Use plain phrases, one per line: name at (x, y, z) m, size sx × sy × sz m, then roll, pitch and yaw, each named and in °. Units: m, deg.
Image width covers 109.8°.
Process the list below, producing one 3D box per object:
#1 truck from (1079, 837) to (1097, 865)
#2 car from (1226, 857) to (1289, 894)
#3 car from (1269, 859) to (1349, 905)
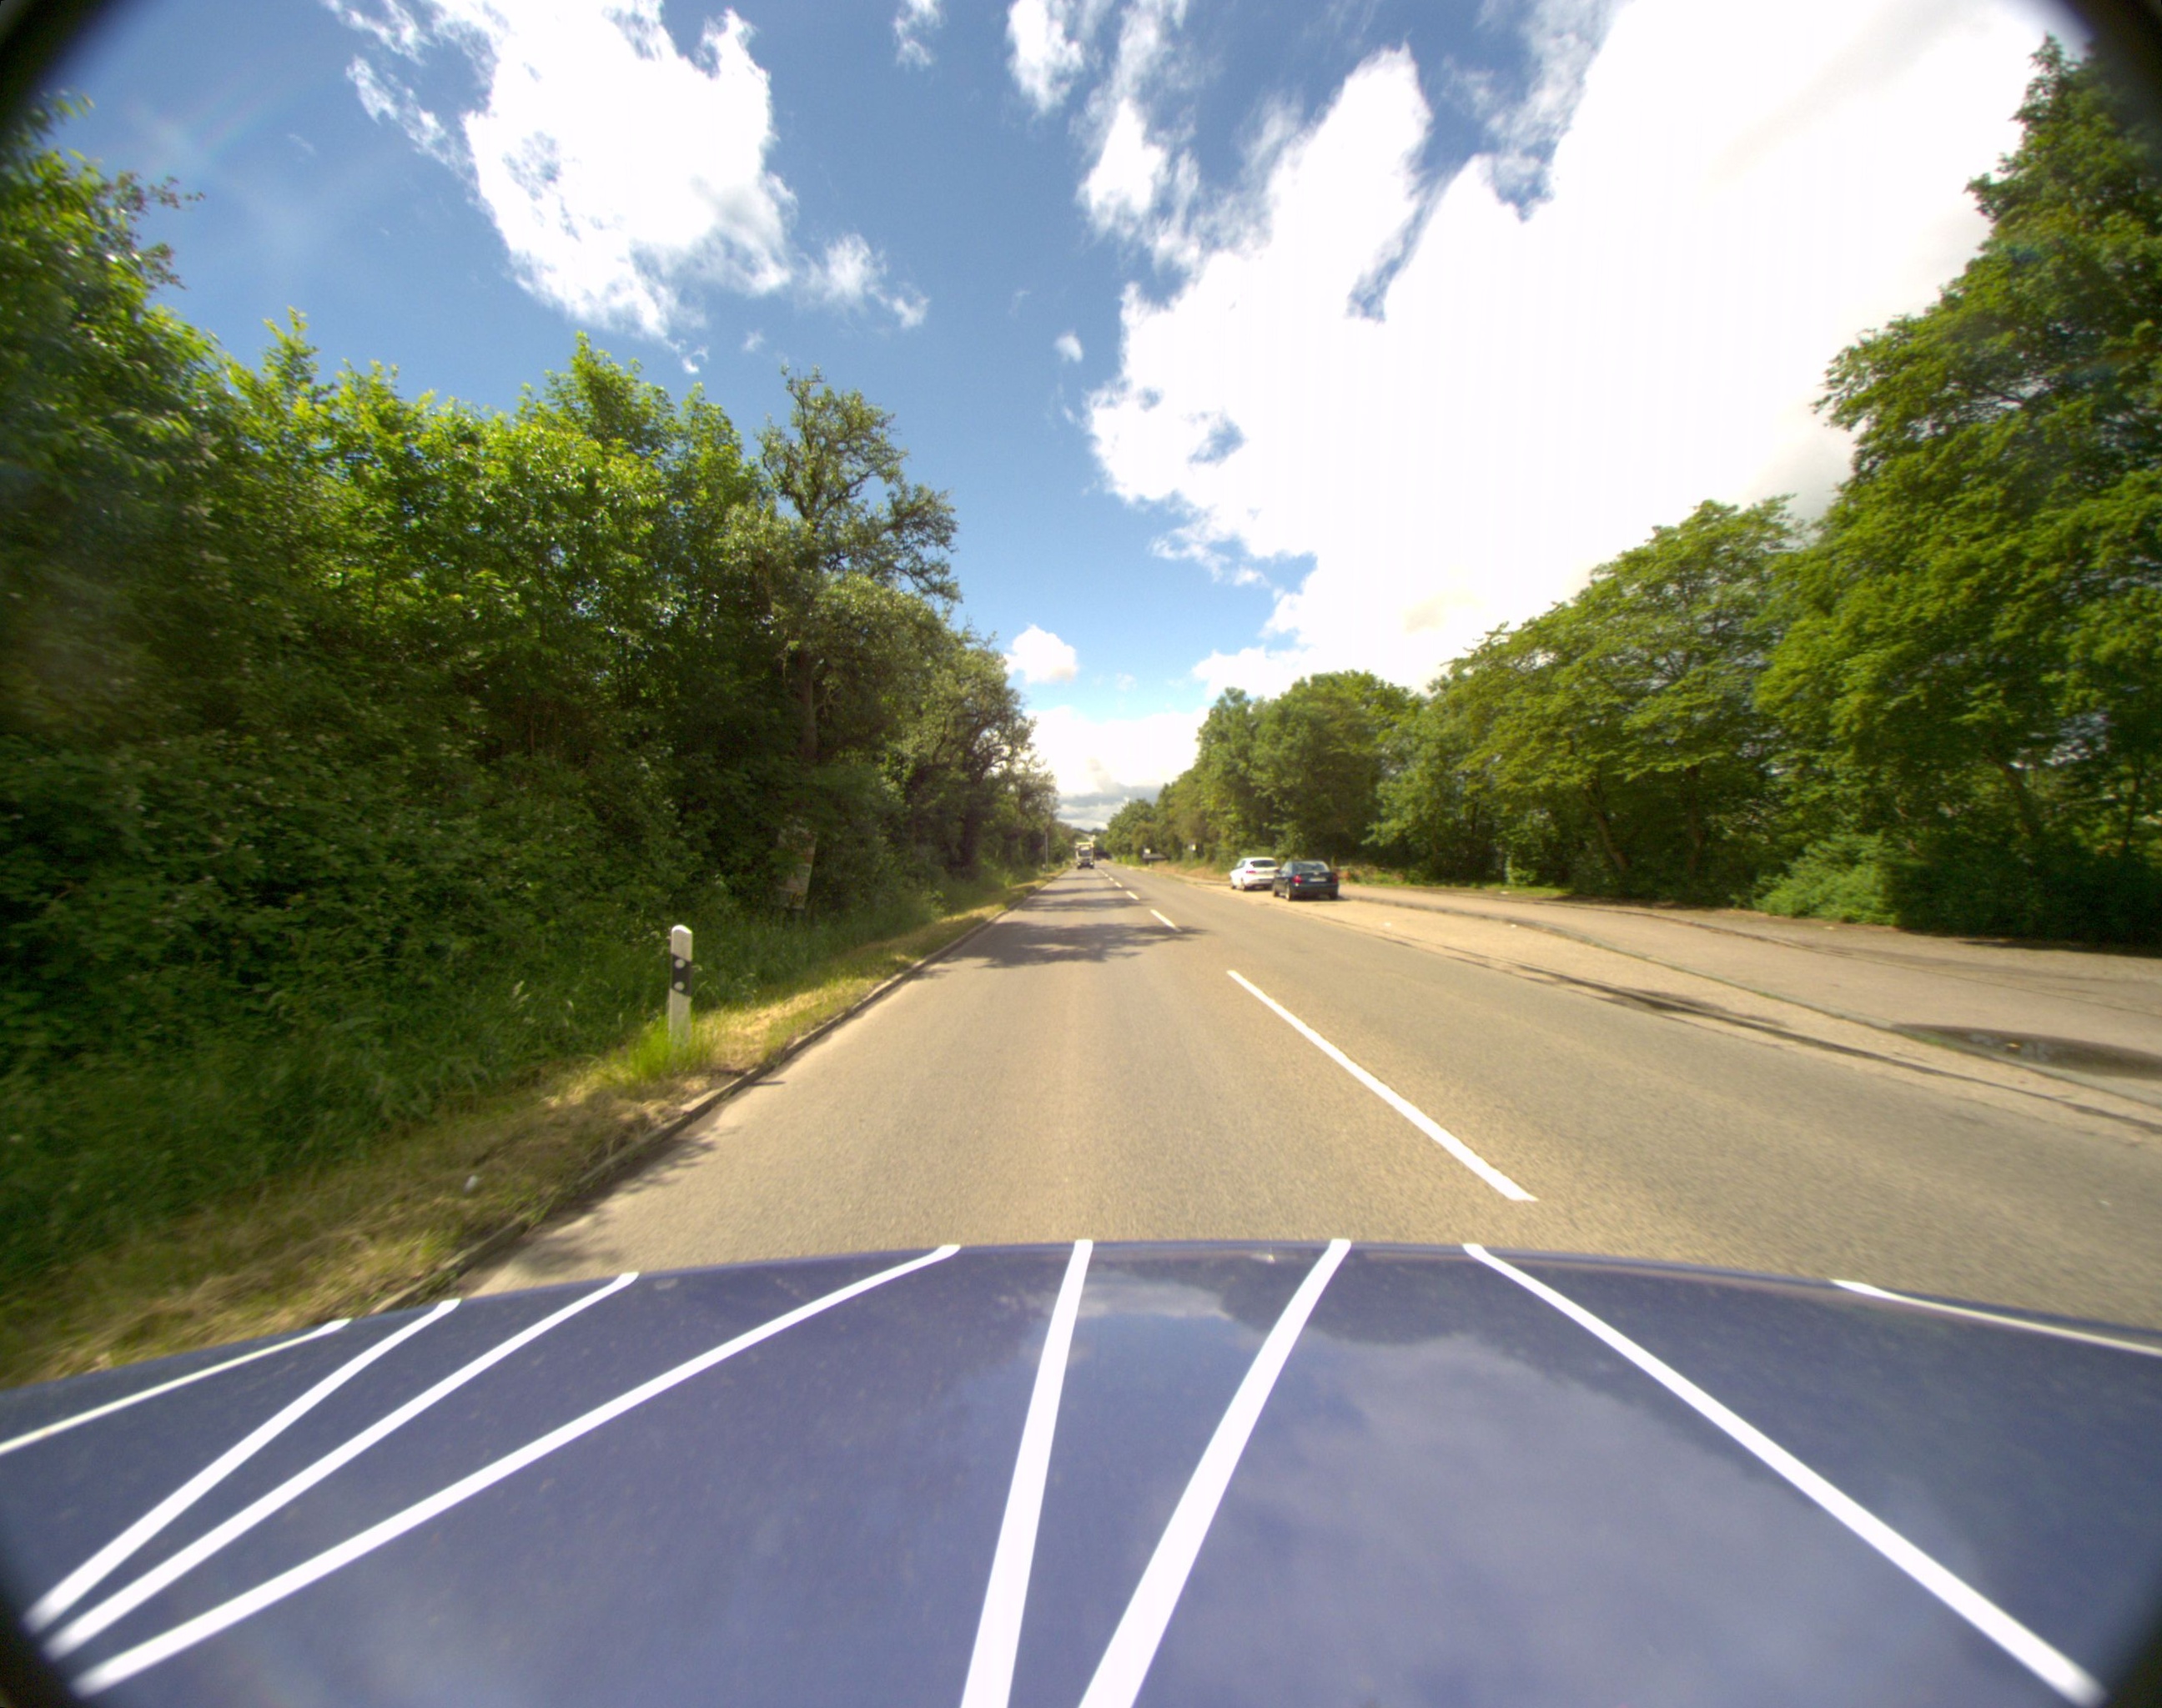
truck at (1.027, -0.505, 109.716) m, size 2.306 × 3.790 × 8.182 m, roll -3°, pitch 0°, yaw 0°
car at (7.979, 0.916, 34.686) m, size 1.772 × 1.461 × 4.245 m, roll -3°, pitch 0°, yaw -1°
car at (8.102, 0.941, 27.390) m, size 1.772 × 1.399 × 4.266 m, roll -3°, pitch 0°, yaw 4°
